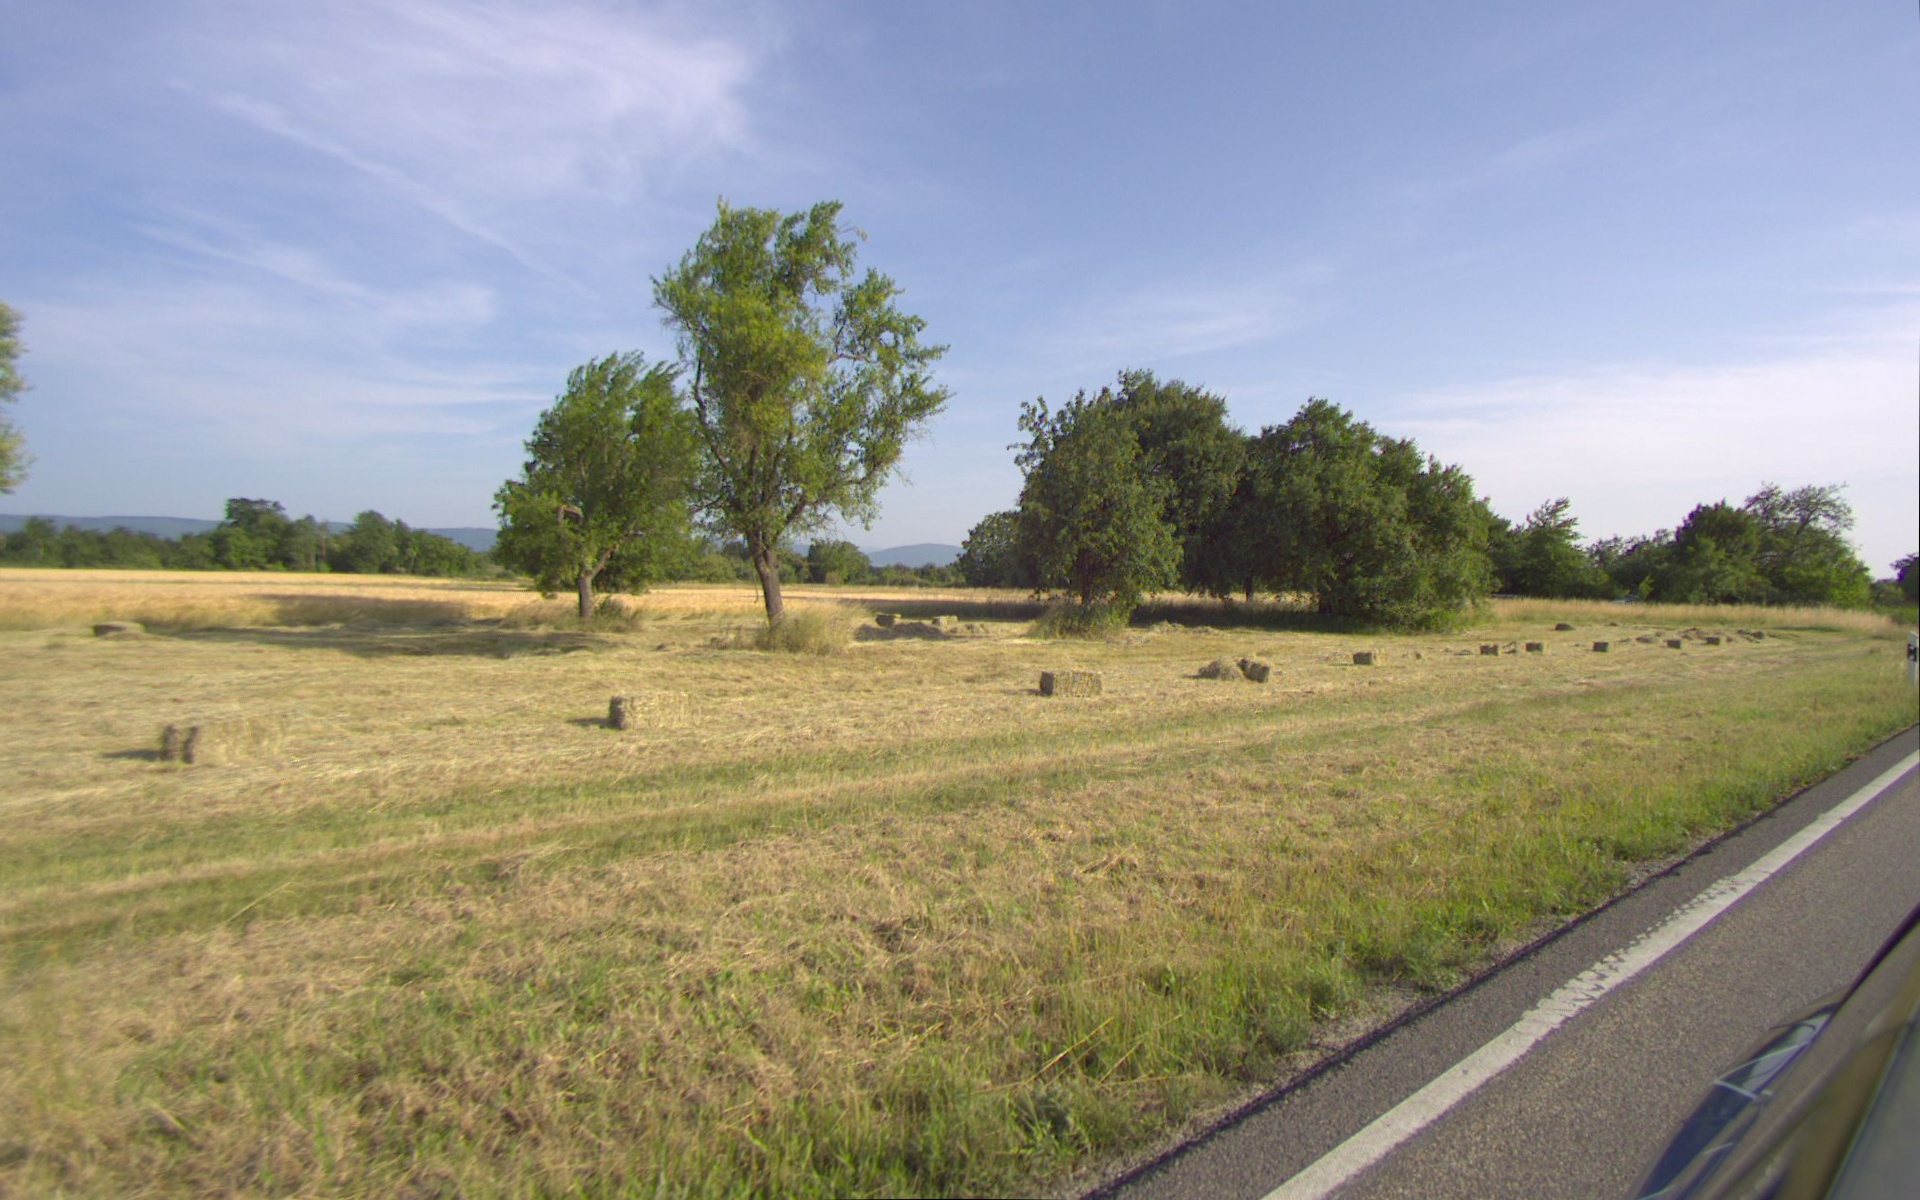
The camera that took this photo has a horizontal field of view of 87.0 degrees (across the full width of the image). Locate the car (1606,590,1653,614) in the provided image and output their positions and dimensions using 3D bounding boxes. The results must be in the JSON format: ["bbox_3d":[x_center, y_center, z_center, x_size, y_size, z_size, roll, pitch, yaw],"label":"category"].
[{"bbox_3d":[50.737,0.132,76.638,3.930,1.772,1.997,0,0,-41],"label":"car"}]
